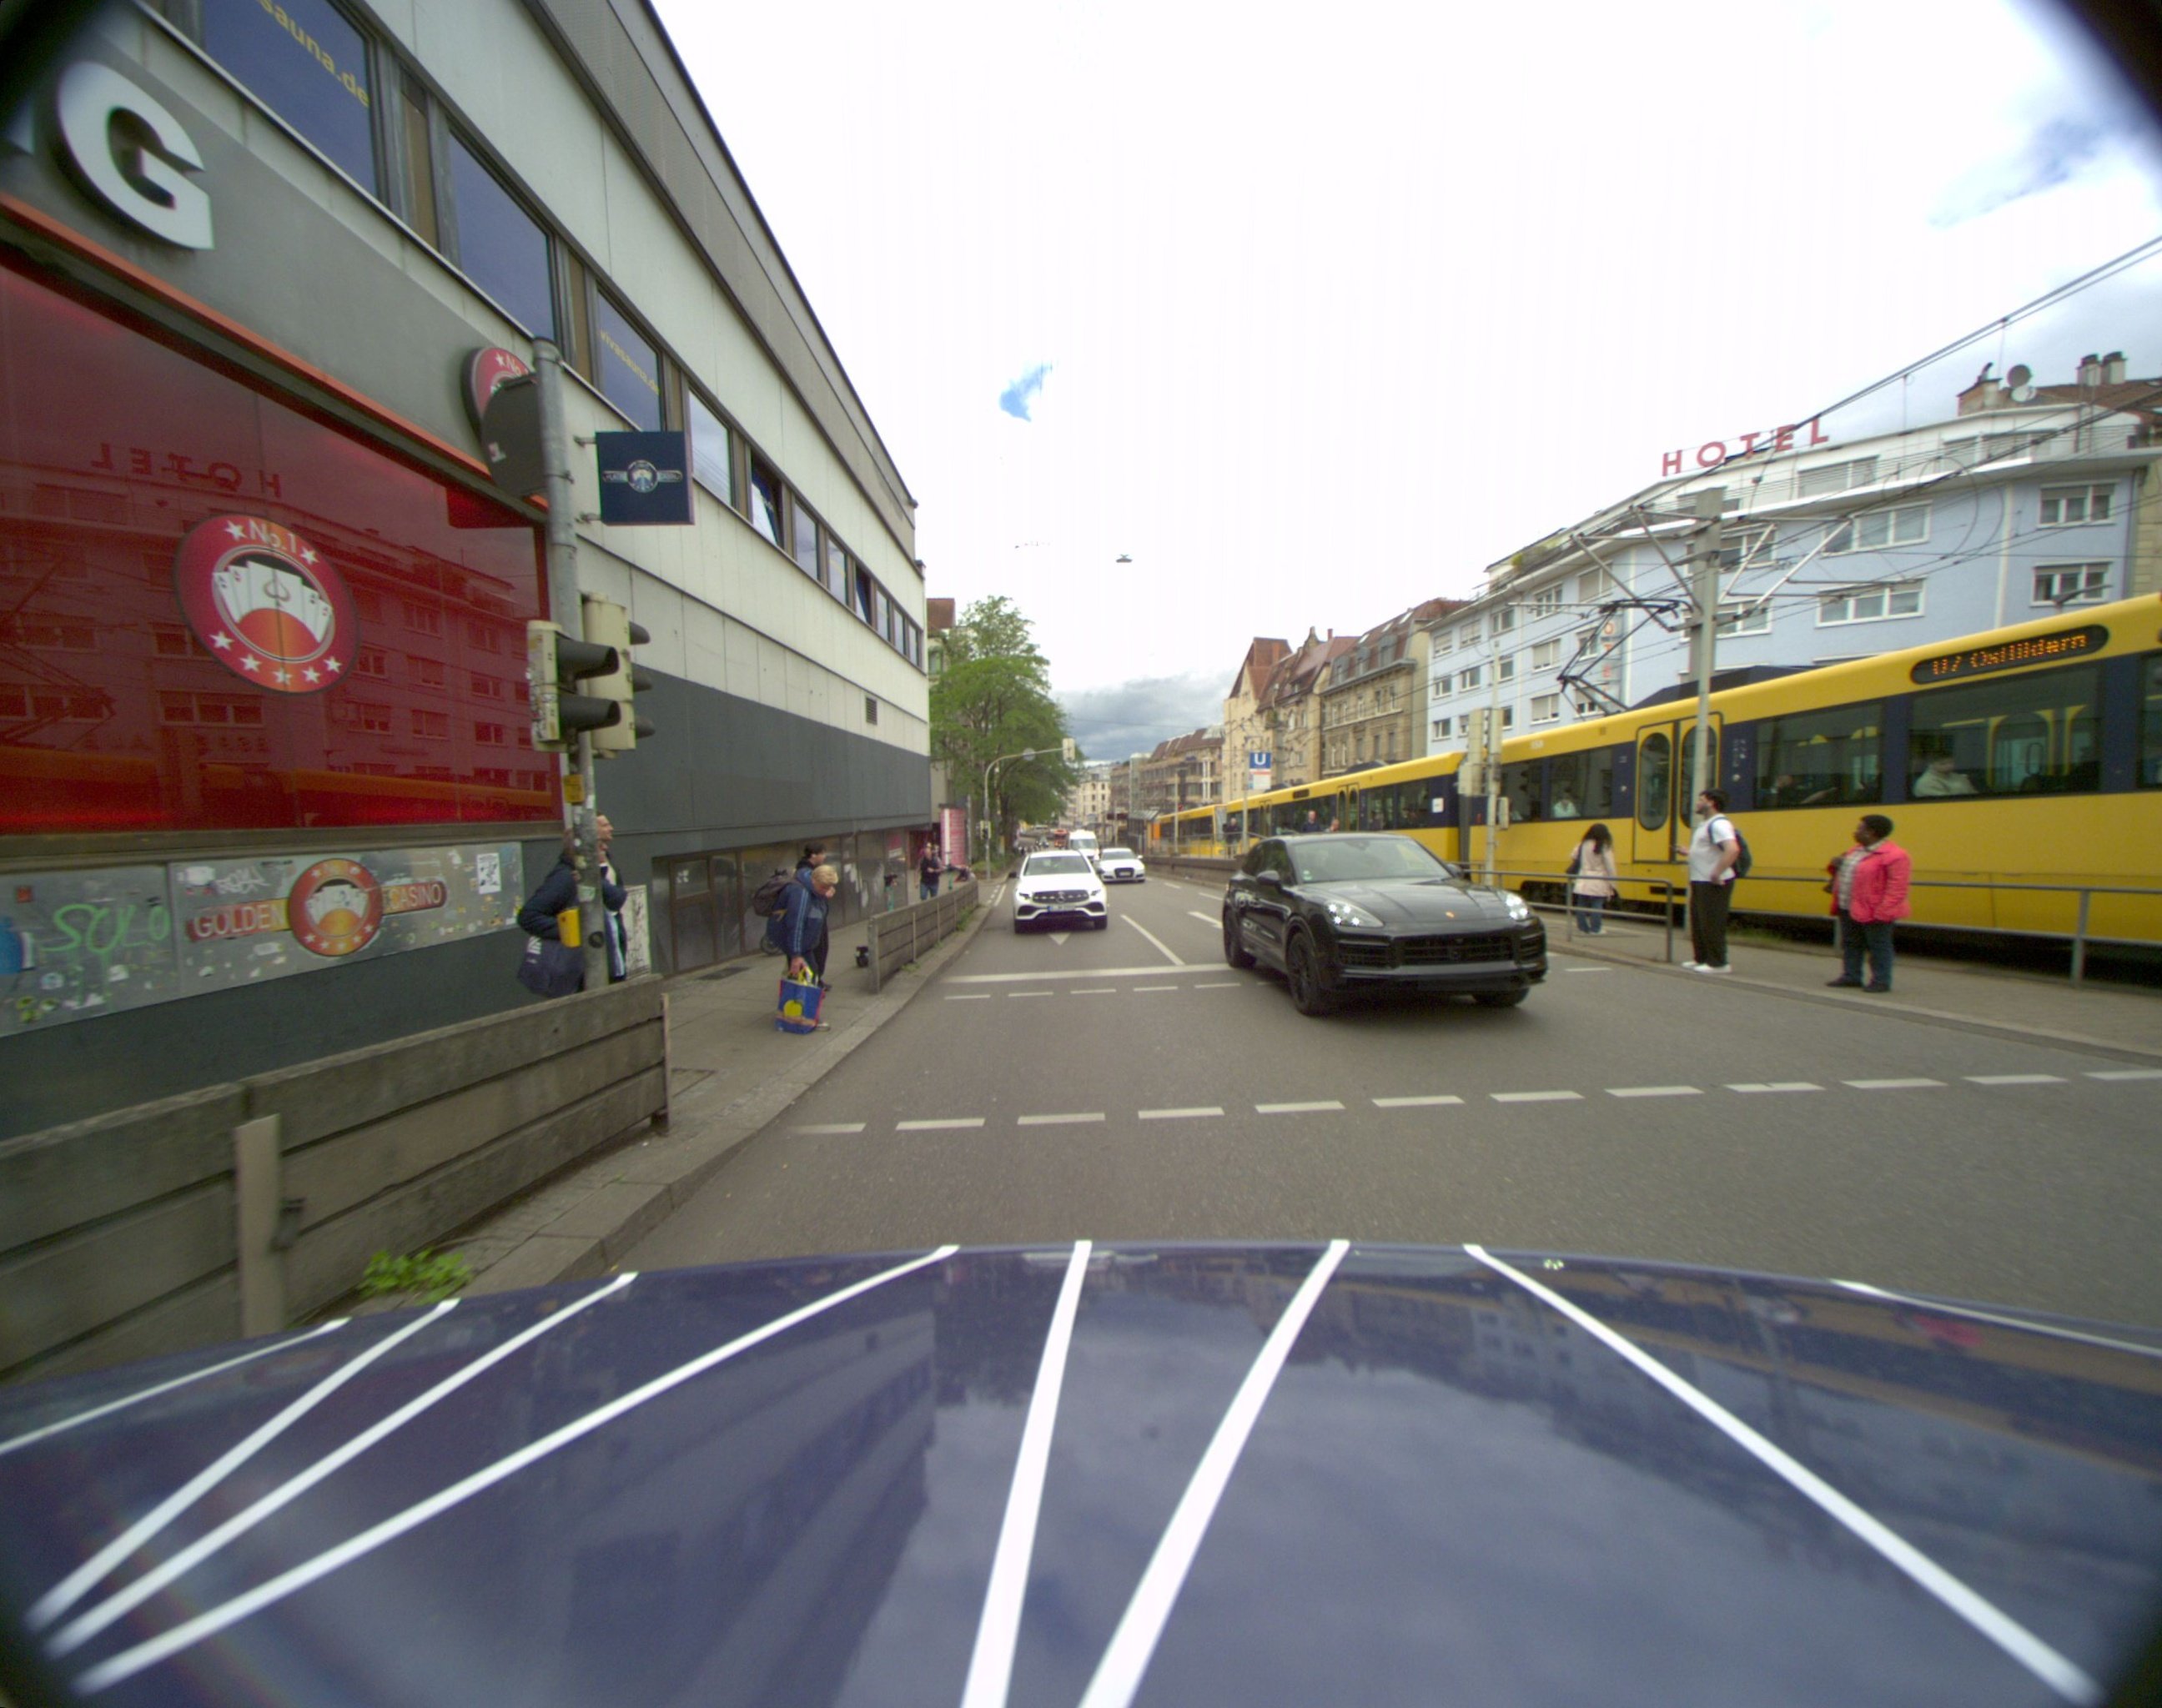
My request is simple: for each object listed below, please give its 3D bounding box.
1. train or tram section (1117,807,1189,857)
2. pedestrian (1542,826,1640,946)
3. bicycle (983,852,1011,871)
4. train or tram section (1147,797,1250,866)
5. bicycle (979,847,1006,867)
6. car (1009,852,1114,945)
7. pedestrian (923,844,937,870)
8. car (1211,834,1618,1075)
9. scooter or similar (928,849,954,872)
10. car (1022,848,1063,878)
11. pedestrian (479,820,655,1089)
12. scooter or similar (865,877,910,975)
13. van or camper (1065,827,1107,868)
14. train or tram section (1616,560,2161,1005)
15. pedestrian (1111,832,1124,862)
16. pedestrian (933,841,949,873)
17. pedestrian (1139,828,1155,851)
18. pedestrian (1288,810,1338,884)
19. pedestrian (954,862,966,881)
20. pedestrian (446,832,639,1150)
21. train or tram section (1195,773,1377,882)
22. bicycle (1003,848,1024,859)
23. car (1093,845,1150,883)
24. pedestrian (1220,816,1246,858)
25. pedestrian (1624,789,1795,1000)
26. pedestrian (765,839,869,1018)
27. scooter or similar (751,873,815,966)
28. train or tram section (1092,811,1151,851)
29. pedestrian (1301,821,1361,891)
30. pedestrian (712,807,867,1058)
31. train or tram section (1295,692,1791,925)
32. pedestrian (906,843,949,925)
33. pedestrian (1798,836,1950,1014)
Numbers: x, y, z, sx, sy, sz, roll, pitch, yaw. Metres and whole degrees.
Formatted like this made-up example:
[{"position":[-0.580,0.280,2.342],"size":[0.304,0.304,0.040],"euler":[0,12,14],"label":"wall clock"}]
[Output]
[{"position":[5.505,-1.682,61.462],"size":[2.890,3.422,14.220],"euler":[-3,1,-6],"label":"train or tram section"},{"position":[7.212,0.430,10.788],"size":[0.677,1.616,1.000],"euler":[-1,2,-5],"label":"pedestrian"},{"position":[-5.387,0.466,48.704],"size":[1.746,1.215,0.541],"euler":[-1,1,-8],"label":"bicycle"},{"position":[6.864,-1.420,47.351],"size":[2.931,3.539,14.218],"euler":[-3,2,-5],"label":"train or tram section"},{"position":[-5.772,0.198,49.573],"size":[1.693,1.215,0.541],"euler":[-2,2,-8],"label":"bicycle"},{"position":[-0.509,0.832,16.792],"size":[1.935,1.622,4.771],"euler":[-2,1,-4],"label":"car"},{"position":[-9.107,0.155,45.759],"size":[0.625,1.514,0.664],"euler":[-2,2,2],"label":"pedestrian"},{"position":[2.825,0.680,7.862],"size":[2.033,1.675,4.780],"euler":[-2,1,-1],"label":"car"},{"position":[-7.989,0.382,43.386],"size":[1.387,1.247,0.632],"euler":[1,3,31],"label":"scooter or similar"},{"position":[-2.066,0.456,41.713],"size":[1.668,1.521,4.002],"euler":[0,0,6],"label":"car"},{"position":[-3.714,0.689,5.542],"size":[0.728,1.798,0.654],"euler":[4,2,0],"label":"pedestrian"},{"position":[-2.671,0.974,10.533],"size":[0.355,1.268,0.813],"euler":[4,0,-2],"label":"scooter or similar"},{"position":[0.254,-0.470,51.095],"size":[2.209,2.544,6.369],"euler":[-3,1,-4],"label":"van or camper"},{"position":[10.392,-0.582,4.898],"size":[2.890,3.643,14.467],"euler":[-1,1,-4],"label":"train or tram section"},{"position":[2.777,-0.528,58.015],"size":[0.838,2.272,0.772],"euler":[-1,2,-4],"label":"pedestrian"},{"position":[-8.432,0.184,45.784],"size":[0.706,1.879,0.880],"euler":[-2,2,2],"label":"pedestrian"},{"position":[3.844,-0.839,44.165],"size":[0.852,1.299,0.778],"euler":[0,2,-3],"label":"pedestrian"},{"position":[6.390,-0.217,21.012],"size":[0.932,1.959,1.232],"euler":[-1,4,-4],"label":"pedestrian"},{"position":[-6.095,0.871,38.171],"size":[0.485,0.905,0.583],"euler":[-1,1,-1],"label":"pedestrian"},{"position":[-3.001,0.720,4.282],"size":[0.563,1.642,0.591],"euler":[5,1,0],"label":"pedestrian"},{"position":[8.154,-1.057,33.249],"size":[2.890,3.643,14.220],"euler":[-2,1,-5],"label":"train or tram section"},{"position":[-7.201,-0.039,80.848],"size":[2.094,1.079,0.712],"euler":[-4,2,-11],"label":"bicycle"},{"position":[1.674,0.371,32.786],"size":[1.897,1.467,4.529],"euler":[-2,1,-4],"label":"car"},{"position":[5.700,-0.639,28.478],"size":[0.780,1.575,0.665],"euler":[-1,2,-4],"label":"pedestrian"},{"position":[6.493,0.362,7.949],"size":[0.967,2.056,1.033],"euler":[0,5,15],"label":"pedestrian"},{"position":[-2.795,0.762,8.101],"size":[0.739,1.783,0.655],"euler":[5,2,0],"label":"pedestrian"},{"position":[-4.410,0.940,11.284],"size":[0.428,1.269,0.981],"euler":[1,1,10],"label":"scooter or similar"},{"position":[3.728,-2.157,75.428],"size":[2.891,3.400,14.216],"euler":[-4,1,-8],"label":"train or tram section"},{"position":[6.333,0.032,19.318],"size":[1.120,1.672,1.040],"euler":[-1,6,-4],"label":"pedestrian"},{"position":[-2.556,0.657,6.761],"size":[0.949,2.051,0.778],"euler":[4,2,0],"label":"pedestrian"},{"position":[9.361,-0.865,19.130],"size":[2.890,3.643,14.221],"euler":[-1,1,-4],"label":"train or tram section"},{"position":[-3.467,0.663,17.242],"size":[0.722,1.776,0.883],"euler":[-3,2,-2],"label":"pedestrian"},{"position":[6.969,0.585,6.723],"size":[0.577,1.456,0.676],"euler":[1,5,15],"label":"pedestrian"}]
